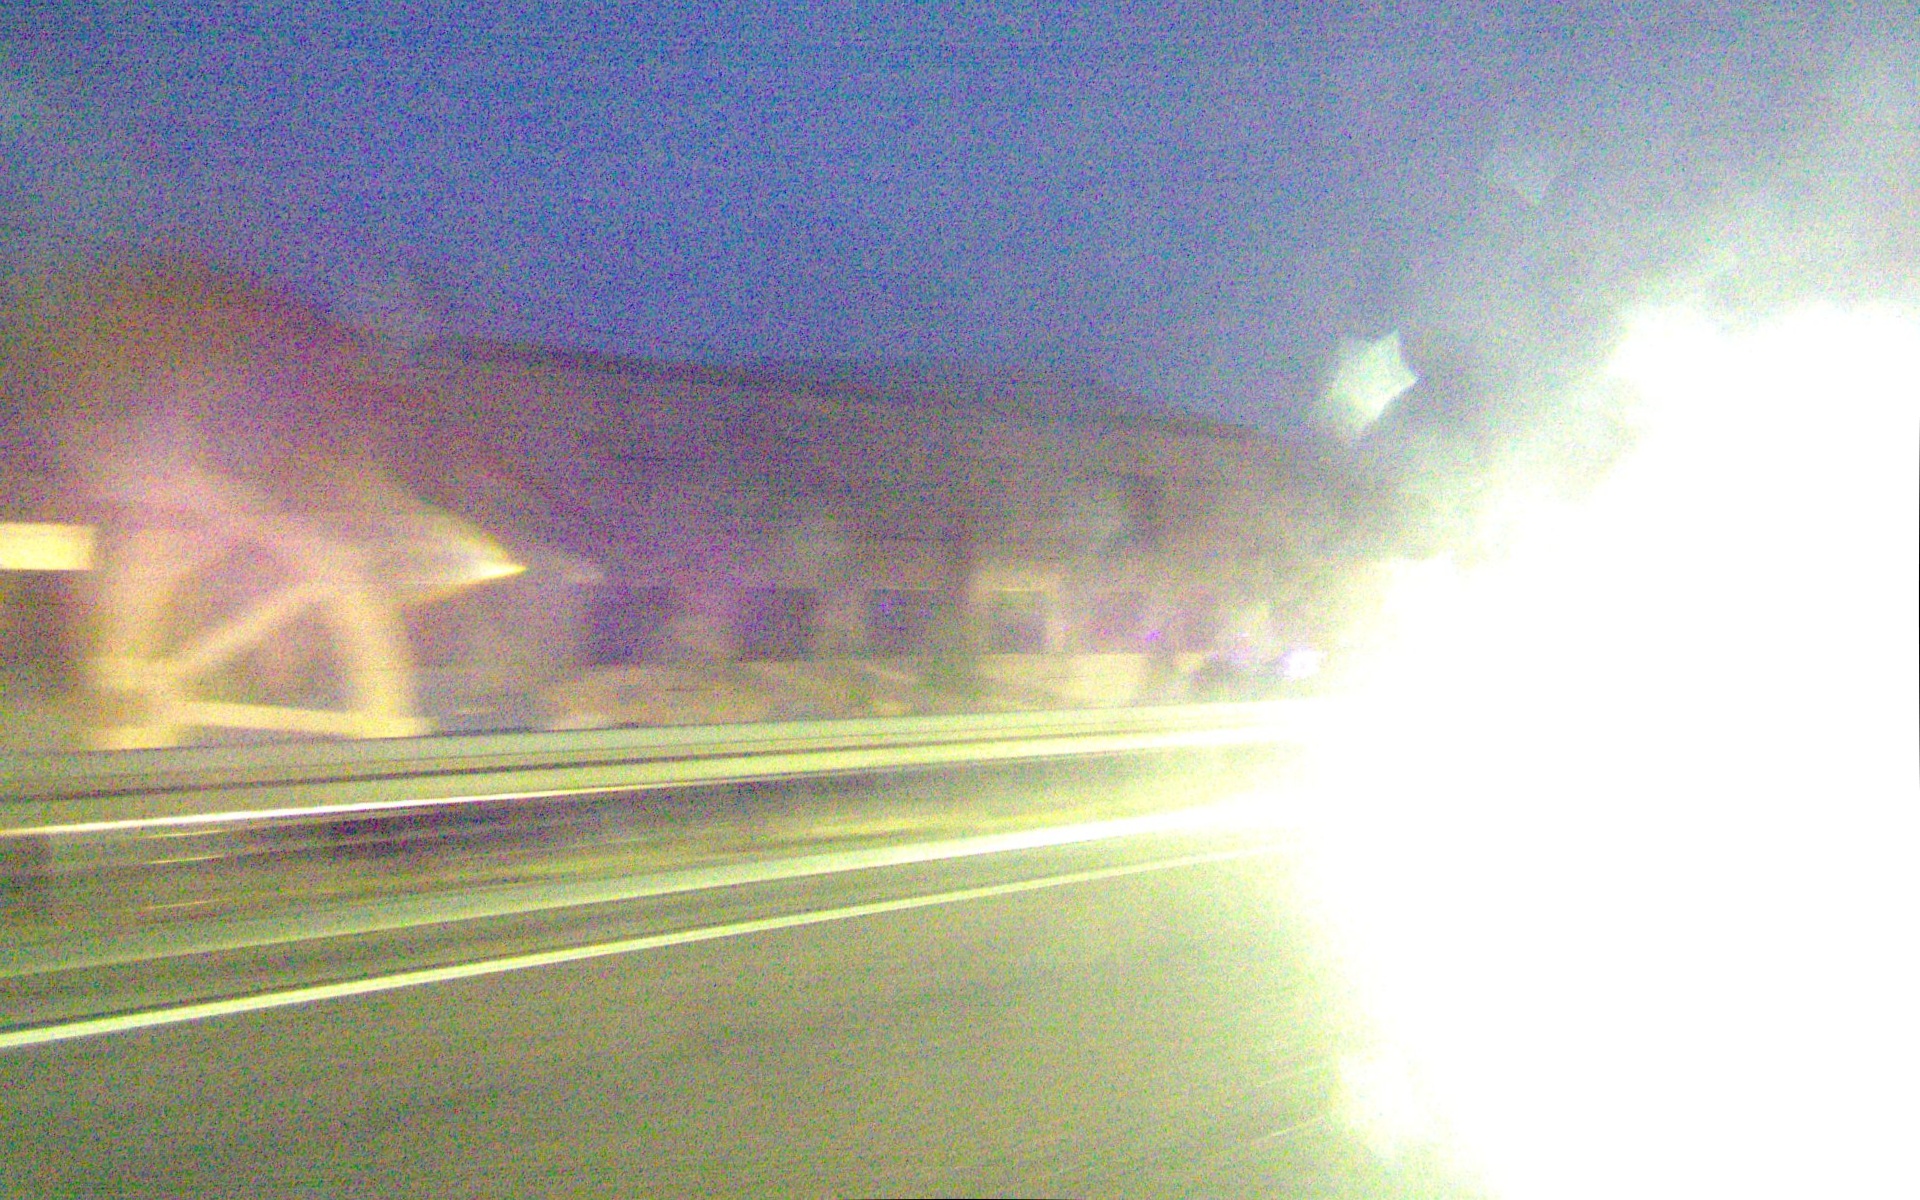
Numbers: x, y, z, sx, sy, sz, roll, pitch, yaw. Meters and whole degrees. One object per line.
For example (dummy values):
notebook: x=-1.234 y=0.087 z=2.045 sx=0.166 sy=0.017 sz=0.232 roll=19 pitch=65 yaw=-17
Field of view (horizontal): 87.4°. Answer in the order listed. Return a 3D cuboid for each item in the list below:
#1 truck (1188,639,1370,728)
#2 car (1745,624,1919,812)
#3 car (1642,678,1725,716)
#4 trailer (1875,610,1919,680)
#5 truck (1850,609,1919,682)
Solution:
truck: x=14.116 y=3.554 z=44.276 sx=7.999 sy=3.529 sz=2.746 roll=1 pitch=0 yaw=-27
car: x=9.251 y=0.995 z=9.283 sx=4.417 sy=1.462 sz=1.857 roll=2 pitch=-1 yaw=-33
car: x=36.511 y=4.856 z=50.673 sx=4.242 sy=1.698 sz=1.799 roll=2 pitch=0 yaw=-30
trailer: x=71.637 y=3.316 z=73.475 sx=11.411 sy=4.860 sz=3.314 roll=2 pitch=0 yaw=-28
truck: x=66.480 y=3.147 z=70.748 sx=7.228 sy=4.860 sz=3.314 roll=2 pitch=0 yaw=-28
